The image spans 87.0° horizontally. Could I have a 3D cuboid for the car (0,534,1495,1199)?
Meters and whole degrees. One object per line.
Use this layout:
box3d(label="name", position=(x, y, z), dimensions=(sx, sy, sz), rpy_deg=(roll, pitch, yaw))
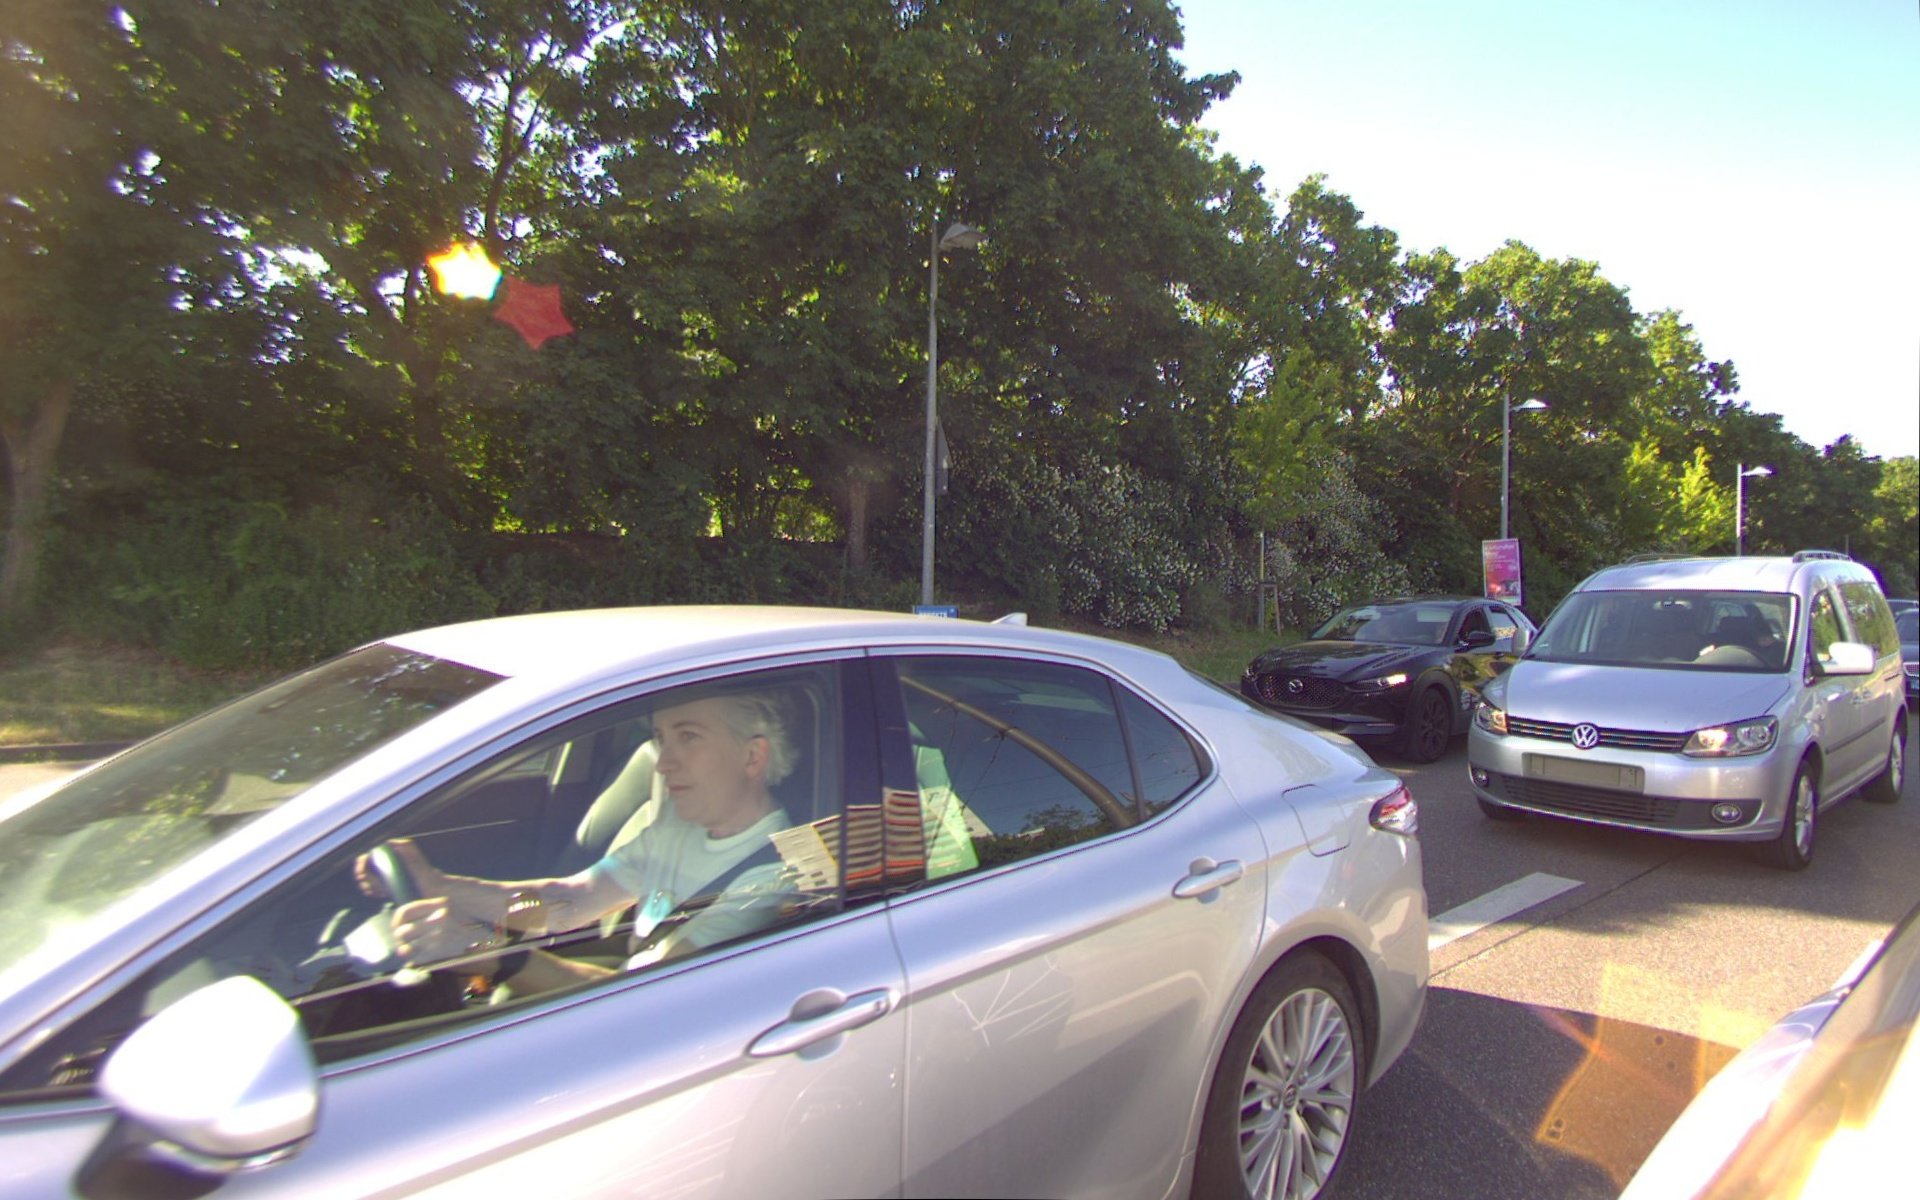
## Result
box3d(label="car", position=(-0.792, 0.693, 2.143), dimensions=(4.599, 1.512, 1.808), rpy_deg=(0, 0, -40))

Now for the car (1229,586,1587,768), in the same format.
box3d(label="car", position=(4.784, 0.628, 10.548), dimensions=(4.151, 1.527, 1.771), rpy_deg=(-1, 0, -40))

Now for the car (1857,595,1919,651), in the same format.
box3d(label="car", position=(27.304, 0.617, 29.140), dimensions=(3.894, 1.512, 1.713), rpy_deg=(0, 1, -40))

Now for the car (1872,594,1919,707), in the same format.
box3d(label="car", position=(14.436, 0.682, 14.447), dimensions=(4.126, 1.472, 1.715), rpy_deg=(0, 1, -43))

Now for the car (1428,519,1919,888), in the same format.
box3d(label="car", position=(5.310, 0.482, 7.173), dimensions=(4.504, 1.844, 1.809), rpy_deg=(-1, 1, -39))
